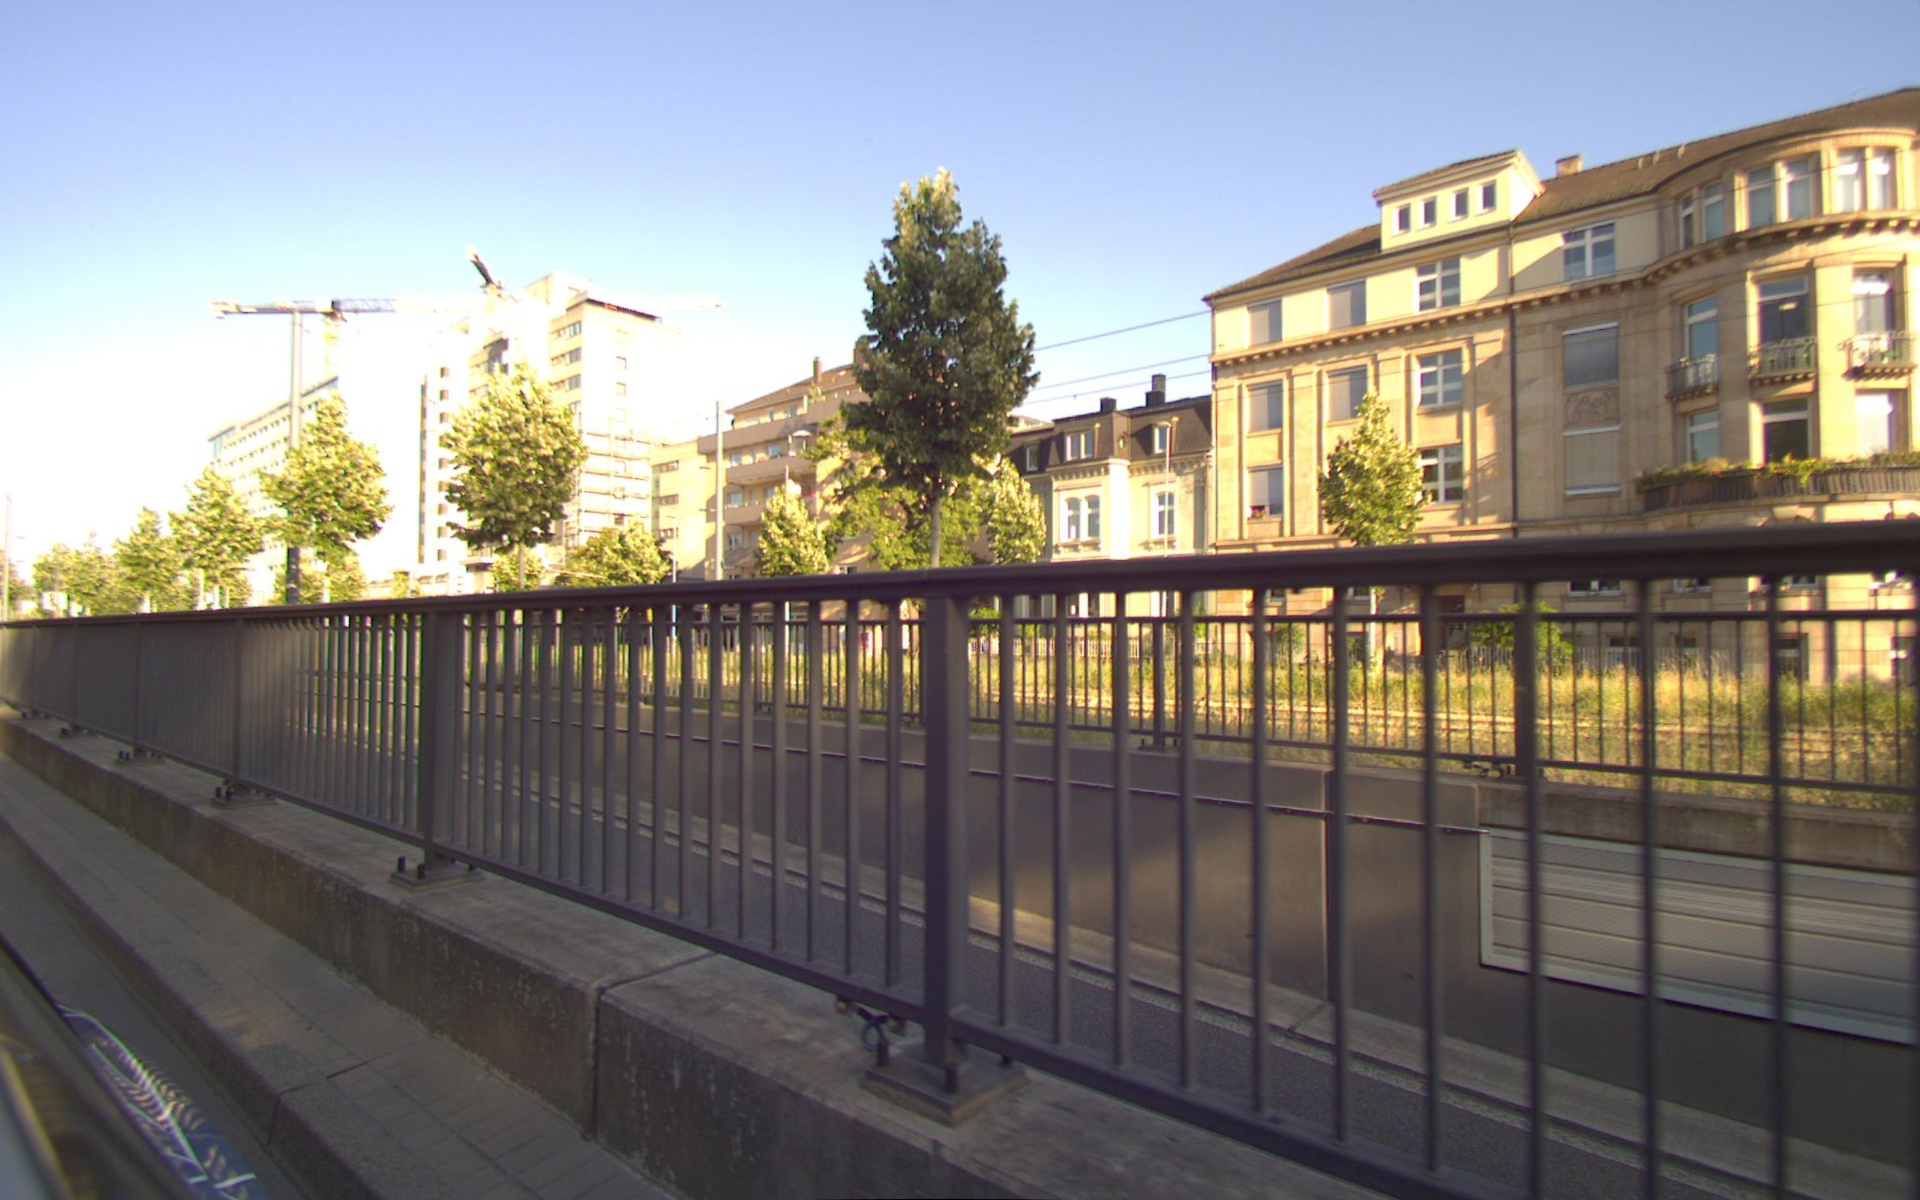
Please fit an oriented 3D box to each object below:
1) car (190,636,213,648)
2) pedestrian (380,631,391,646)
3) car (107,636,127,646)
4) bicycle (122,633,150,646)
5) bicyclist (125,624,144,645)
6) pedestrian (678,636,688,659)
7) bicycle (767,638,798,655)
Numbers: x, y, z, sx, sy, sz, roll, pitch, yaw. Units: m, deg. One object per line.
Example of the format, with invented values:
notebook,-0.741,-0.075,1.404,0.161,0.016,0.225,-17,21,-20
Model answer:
car,-102.153,5.688,136.310,3.389,1.477,1.849,-1,0,42
pedestrian,-62.336,4.150,109.890,0.882,1.652,0.766,-2,-3,41
car,-131.169,6.402,157.476,4.660,1.474,1.757,-2,-2,41
bicycle,-57.084,2.737,70.101,2.015,0.898,0.503,-1,-2,19
bicyclist,-57.063,2.369,69.963,0.710,1.405,0.732,-1,-2,18
pedestrian,-19.262,3.293,70.312,0.520,1.567,0.442,-2,-3,41
bicycle,-11.638,3.040,66.300,2.585,1.145,0.525,-2,-3,42
